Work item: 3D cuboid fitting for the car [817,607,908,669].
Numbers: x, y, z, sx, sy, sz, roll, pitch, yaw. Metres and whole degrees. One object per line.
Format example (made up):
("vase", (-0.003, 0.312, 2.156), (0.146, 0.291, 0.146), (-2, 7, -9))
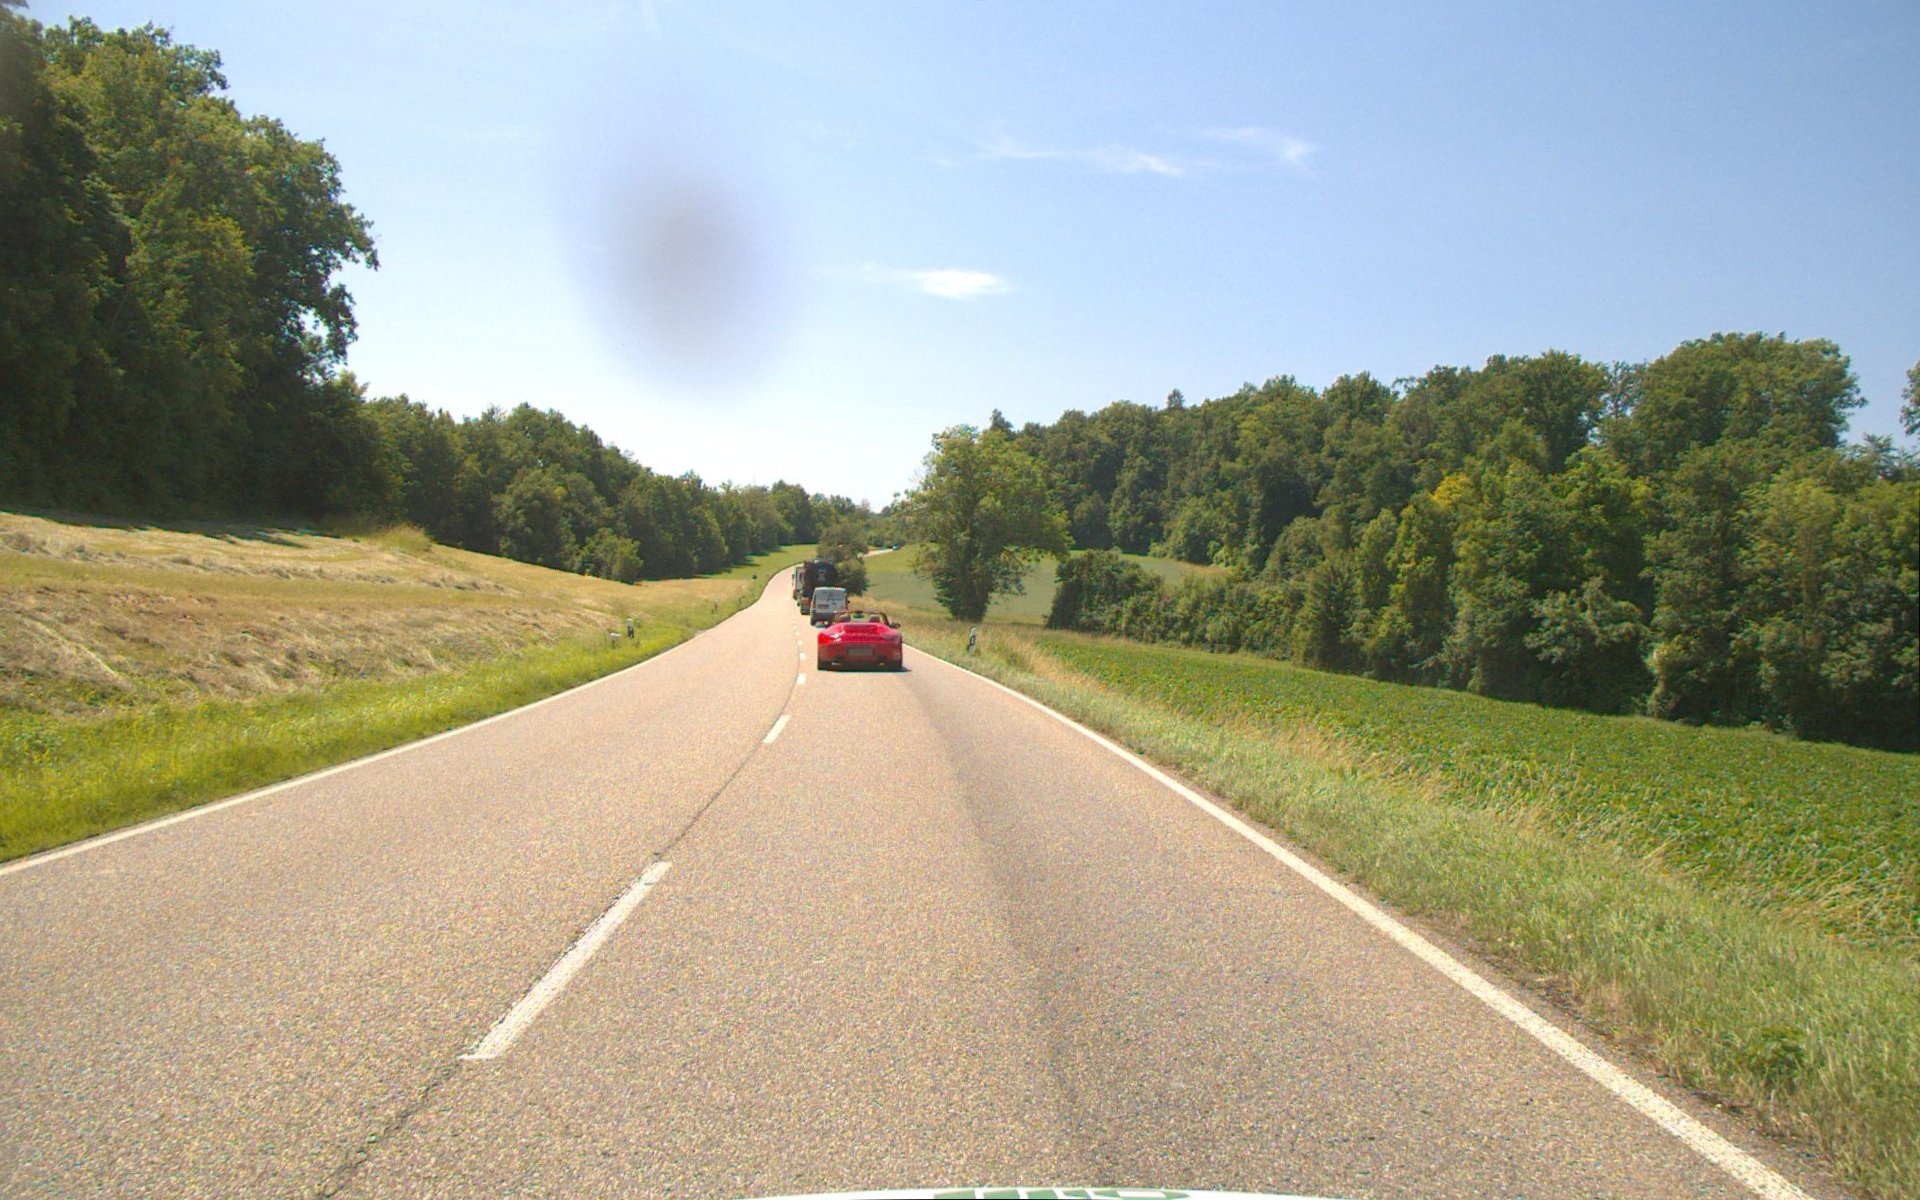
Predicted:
("car", (-2.203, 0.809, 36.496), (1.846, 1.277, 4.005), (1, 0, -5))

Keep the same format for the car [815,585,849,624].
("car", (-6.509, 0.220, 84.482), (1.645, 1.934, 4.007), (1, 0, -3))

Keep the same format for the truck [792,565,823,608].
("truck", (-19.025, -1.738, 206.222), (3.653, 4.740, 12.021), (1, 3, -5))

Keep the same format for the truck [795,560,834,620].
("truck", (-10.706, -0.826, 120.624), (2.358, 4.120, 12.532), (1, 1, -7))
